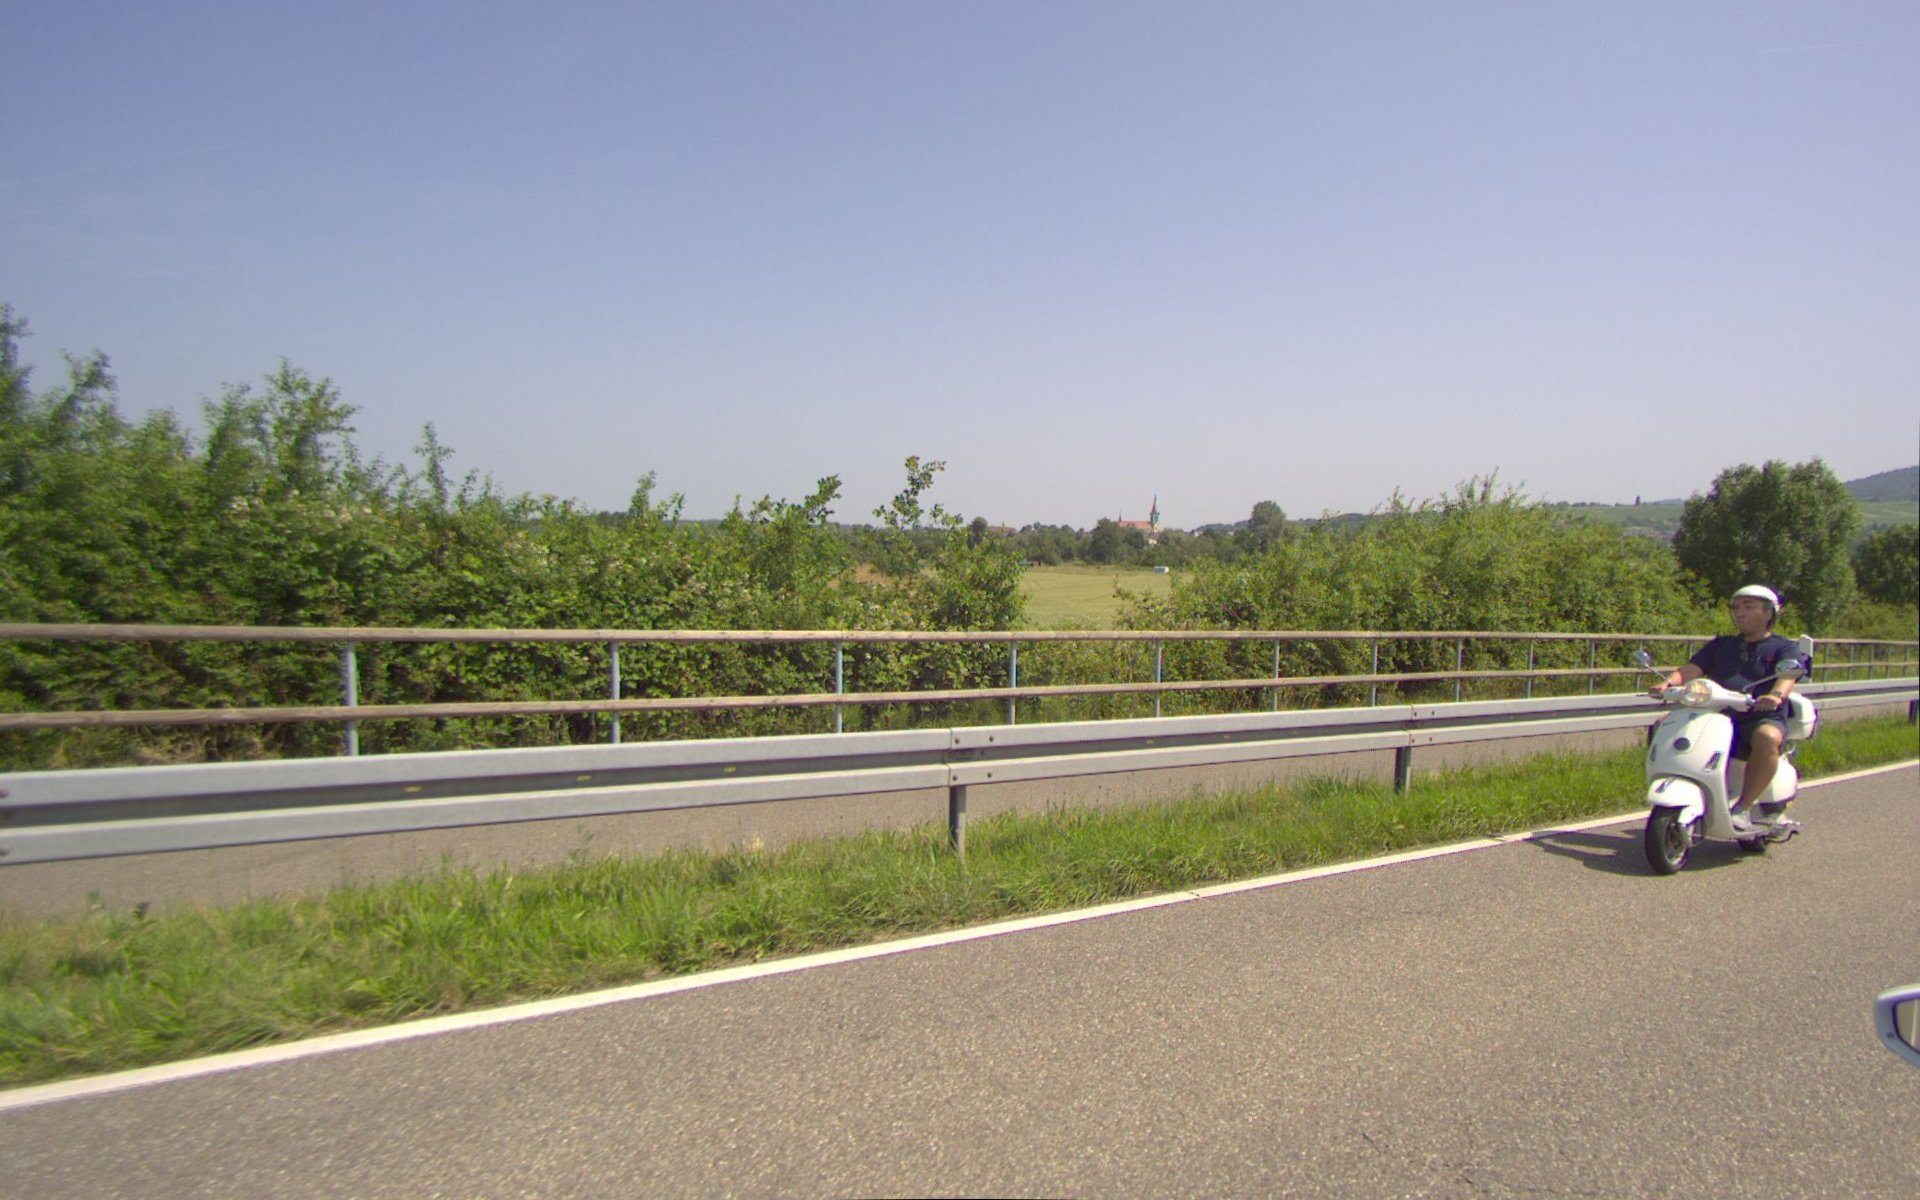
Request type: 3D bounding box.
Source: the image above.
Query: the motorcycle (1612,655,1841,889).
[{"bbox_3d":[4.798,0.988,6.259,1.621,1.240,0.639,1,0,-34],"label":"motorcycle"}]

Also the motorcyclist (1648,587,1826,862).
[{"bbox_3d":[4.852,0.722,6.282,0.767,1.583,0.650,1,0,-34],"label":"motorcyclist"}]
